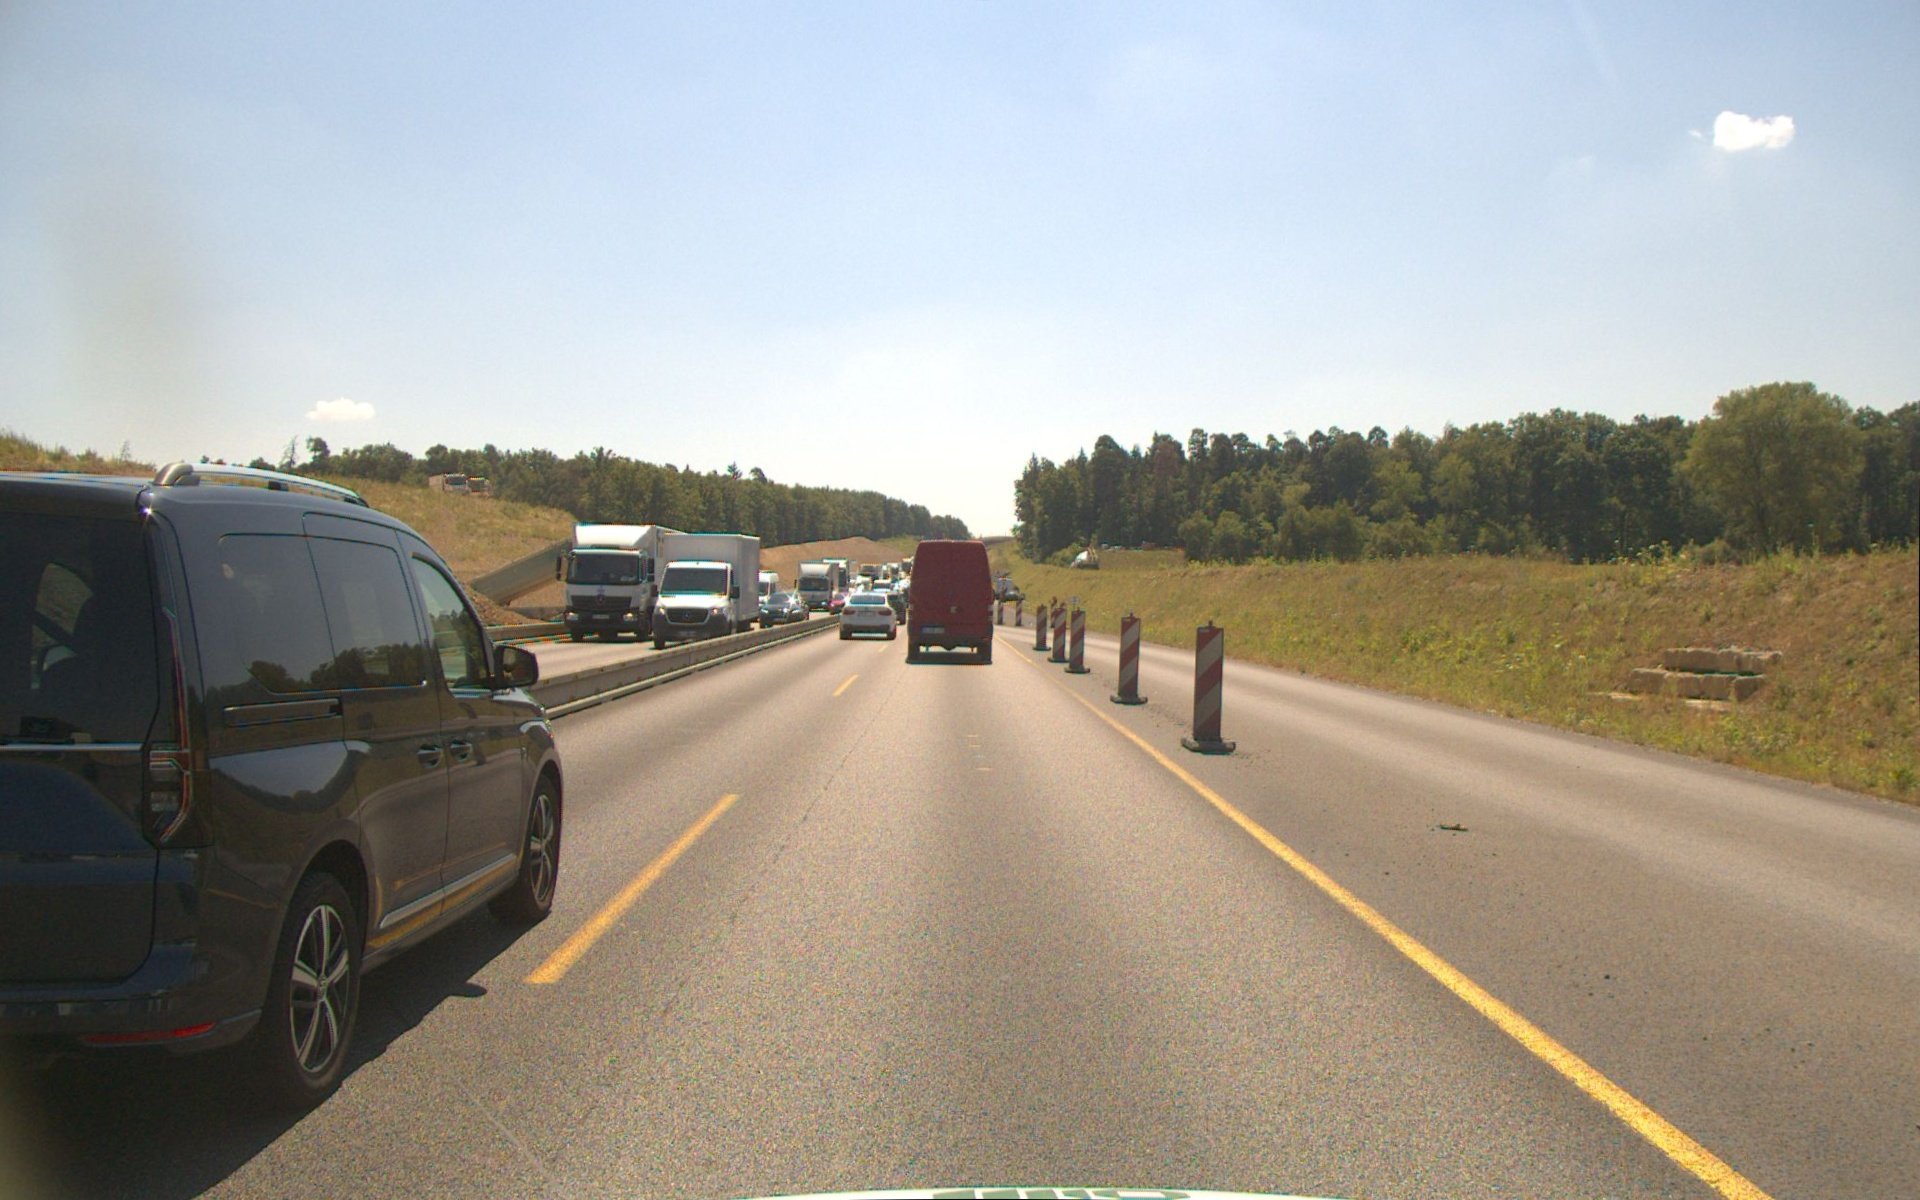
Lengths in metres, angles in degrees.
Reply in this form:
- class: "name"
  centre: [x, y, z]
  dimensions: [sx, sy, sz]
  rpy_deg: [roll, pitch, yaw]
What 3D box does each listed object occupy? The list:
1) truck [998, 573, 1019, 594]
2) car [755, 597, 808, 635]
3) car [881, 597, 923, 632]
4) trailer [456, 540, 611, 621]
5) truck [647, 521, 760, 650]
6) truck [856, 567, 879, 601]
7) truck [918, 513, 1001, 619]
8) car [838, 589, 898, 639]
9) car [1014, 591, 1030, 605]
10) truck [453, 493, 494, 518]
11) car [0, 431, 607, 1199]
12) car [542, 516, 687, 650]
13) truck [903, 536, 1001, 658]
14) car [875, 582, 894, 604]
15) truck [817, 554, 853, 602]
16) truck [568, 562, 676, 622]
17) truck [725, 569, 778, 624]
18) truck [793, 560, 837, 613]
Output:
- class: "truck"
  centre: [6.070, -2.033, 204.719]
  dimensions: [2.084, 2.499, 5.930]
  rpy_deg: [1, 1, 6]
- class: "car"
  centre: [-7.457, 0.663, 69.601]
  dimensions: [1.752, 1.508, 4.560]
  rpy_deg: [1, 0, -1]
- class: "car"
  centre: [-2.807, 0.674, 80.620]
  dimensions: [1.927, 1.568, 4.311]
  rpy_deg: [1, 1, -1]
- class: "trailer"
  centre: [-22.762, -1.060, 88.201]
  dimensions: [8.180, 4.170, 2.797]
  rpy_deg: [1, 0, 27]
- class: "truck"
  centre: [-6.904, -0.360, 45.317]
  dimensions: [2.225, 3.205, 7.309]
  rpy_deg: [1, 0, -3]
- class: "truck"
  centre: [-12.135, -2.104, 217.412]
  dimensions: [2.440, 4.272, 5.913]
  rpy_deg: [-1, 0, 2]
- class: "truck"
  centre: [-0.112, -1.777, 96.491]
  dimensions: [4.310, 5.592, 16.600]
  rpy_deg: [1, 0, -1]
- class: "car"
  centre: [-2.993, 0.455, 54.430]
  dimensions: [1.794, 1.548, 3.960]
  rpy_deg: [1, 0, -1]
- class: "car"
  centre: [6.974, -0.260, 186.745]
  dimensions: [1.620, 1.451, 4.545]
  rpy_deg: [-2, 1, 0]
- class: "truck"
  centre: [-63.635, -12.317, 216.206]
  dimensions: [2.277, 2.797, 8.793]
  rpy_deg: [1, 0, -36]
- class: "car"
  centre: [-2.675, 0.502, 6.159]
  dimensions: [1.716, 1.856, 4.782]
  rpy_deg: [1, 1, -1]
- class: "car"
  centre: [-10.597, -0.533, 51.521]
  dimensions: [2.849, 3.805, 8.089]
  rpy_deg: [1, 1, -1]
- class: "truck"
  centre: [-0.209, -0.054, 38.843]
  dimensions: [2.109, 2.635, 5.332]
  rpy_deg: [1, 0, -1]
- class: "car"
  centre: [-8.105, -0.751, 178.277]
  dimensions: [1.953, 2.332, 5.342]
  rpy_deg: [1, 1, -1]
- class: "truck"
  centre: [-10.914, -1.886, 145.102]
  dimensions: [2.791, 4.088, 4.858]
  rpy_deg: [-1, 0, -1]
- class: "truck"
  centre: [-17.885, -0.386, 87.773]
  dimensions: [2.543, 3.016, 5.027]
  rpy_deg: [0, -1, 44]
- class: "truck"
  centre: [-10.616, -0.220, 84.632]
  dimensions: [2.056, 2.614, 6.353]
  rpy_deg: [2, 1, -2]
- class: "truck"
  centre: [-10.941, -0.974, 125.414]
  dimensions: [2.591, 3.781, 9.480]
  rpy_deg: [1, 0, -1]
